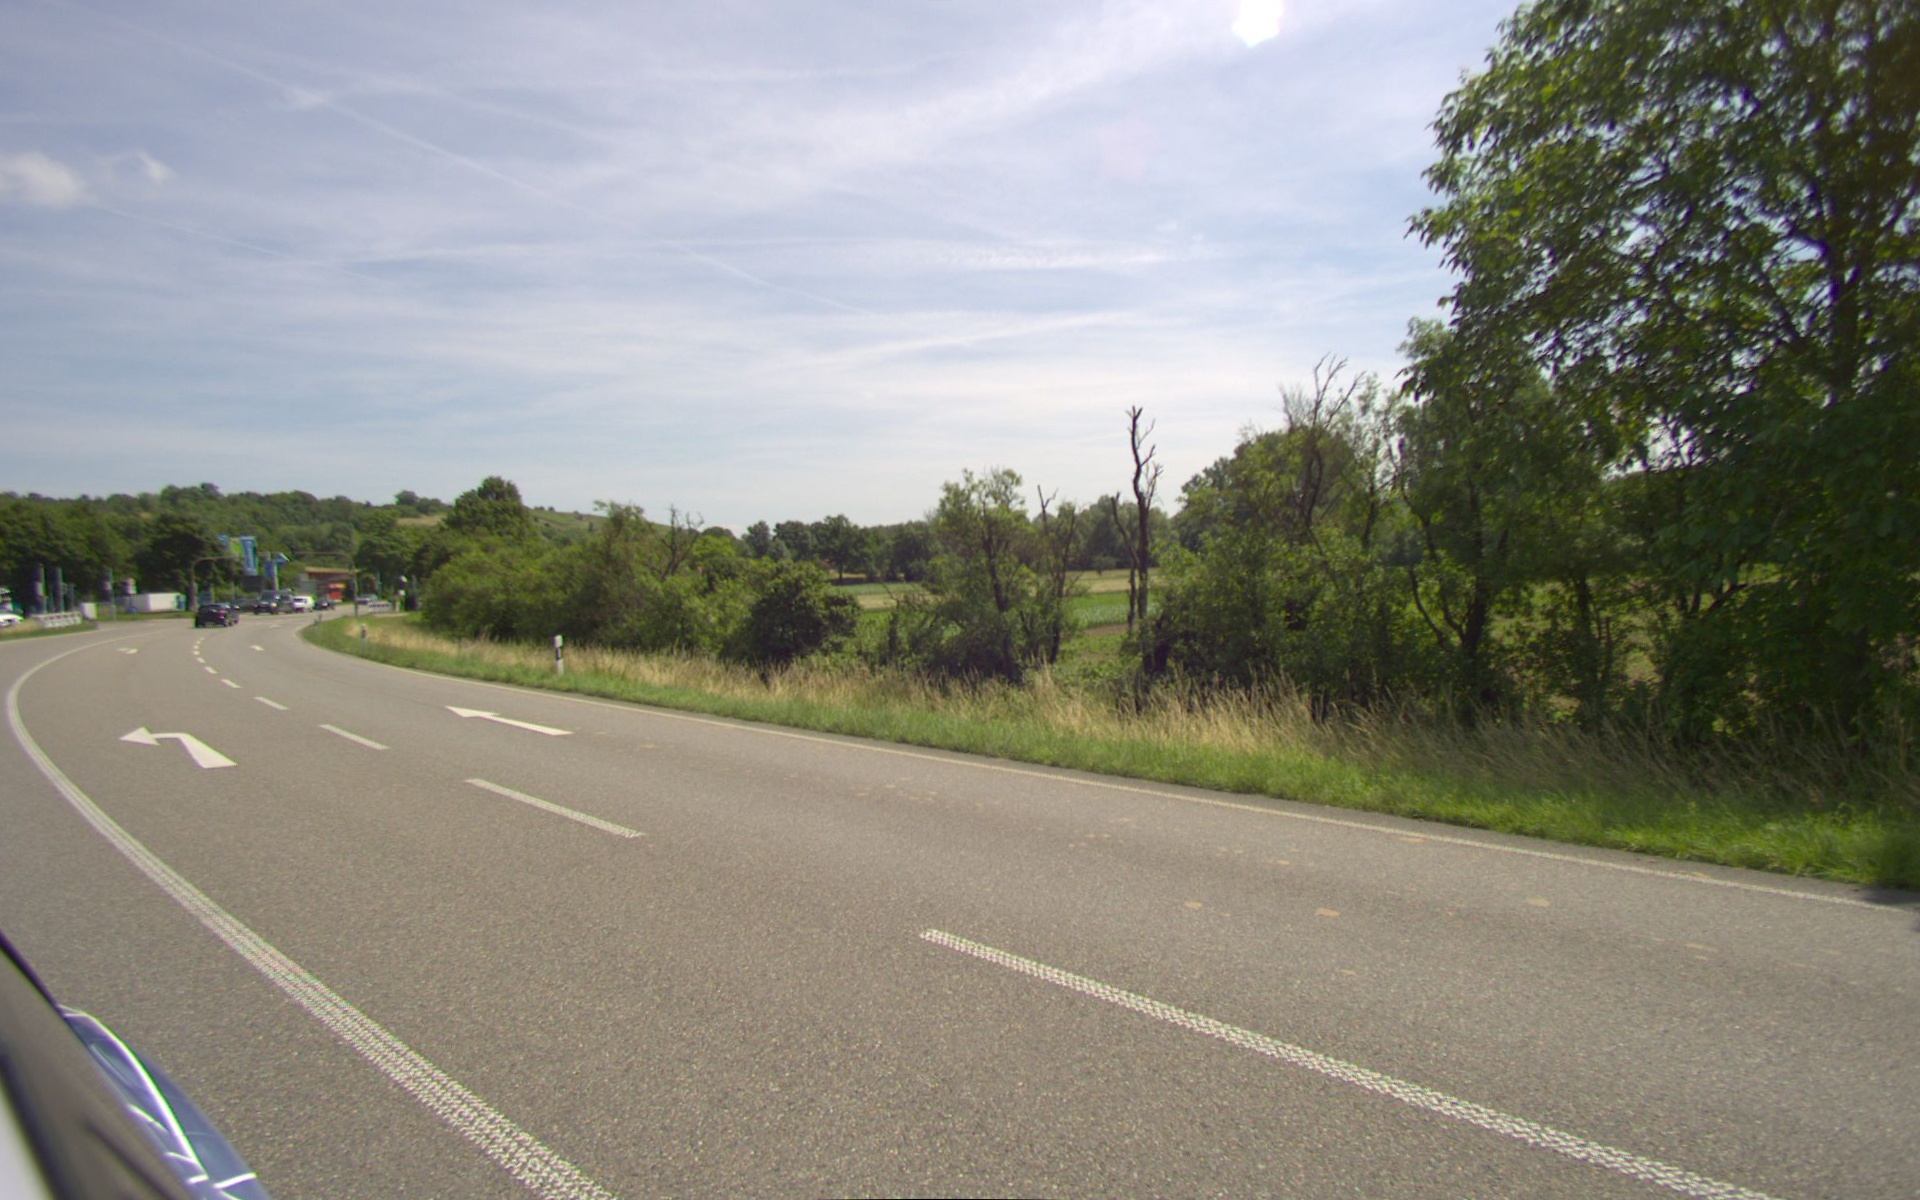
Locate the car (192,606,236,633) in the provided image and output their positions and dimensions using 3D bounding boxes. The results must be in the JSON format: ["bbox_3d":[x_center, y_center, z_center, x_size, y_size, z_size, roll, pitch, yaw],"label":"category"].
[{"bbox_3d":[-51.234,1.316,69.546,1.746,1.671,4.013,-1,1,-26],"label":"car"}]

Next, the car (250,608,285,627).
[{"bbox_3d":[-71.977,1.781,105.250,1.780,1.745,4.012,-2,2,-16],"label":"car"}]

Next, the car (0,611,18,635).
[{"bbox_3d":[-73.007,1.795,74.716,4.561,1.619,2.005,-3,4,-20],"label":"car"}]

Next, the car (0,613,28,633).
[{"bbox_3d":[-75.043,1.856,78.267,3.904,1.429,1.834,-2,2,-20],"label":"car"}]

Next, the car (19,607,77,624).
[{"bbox_3d":[-101.983,1.702,113.215,1.976,1.633,4.621,0,2,6],"label":"car"}]

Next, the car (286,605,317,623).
[{"bbox_3d":[-74.297,1.564,114.168,1.780,1.745,4.012,-2,2,-16],"label":"car"}]

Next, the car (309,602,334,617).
[{"bbox_3d":[-77.190,1.149,122.380,1.779,1.746,4.013,-2,0,-20],"label":"car"}]
